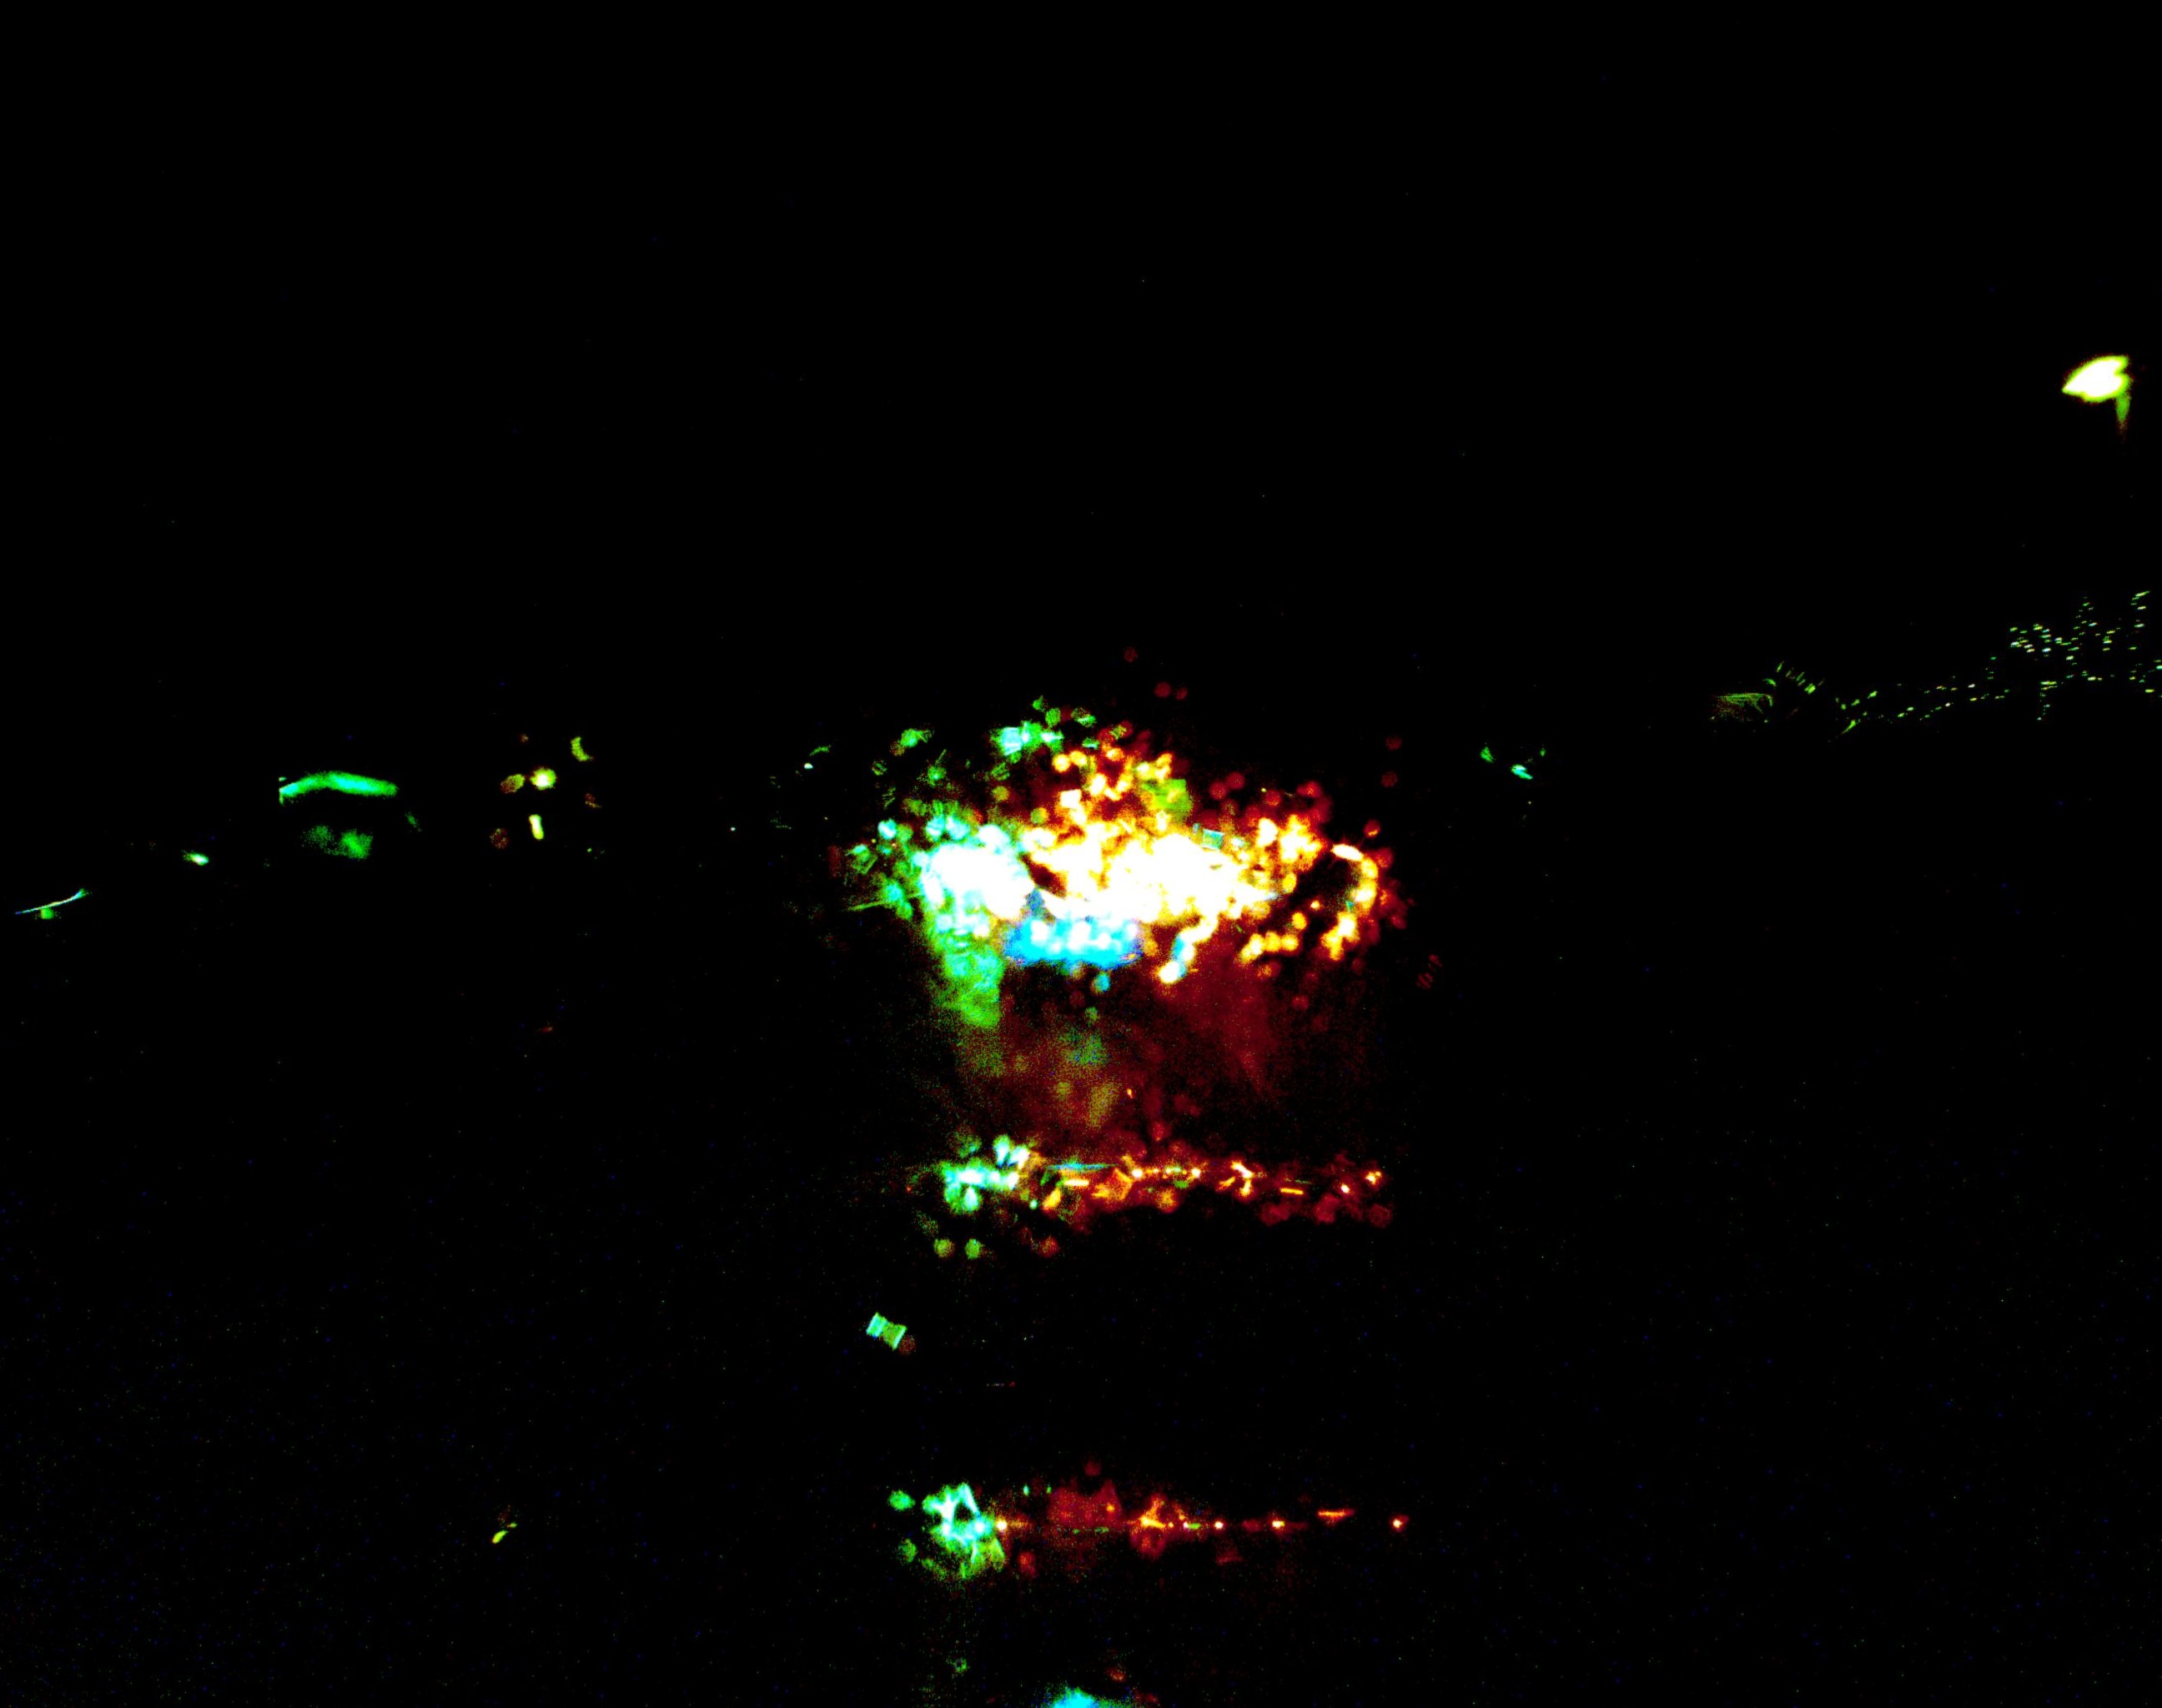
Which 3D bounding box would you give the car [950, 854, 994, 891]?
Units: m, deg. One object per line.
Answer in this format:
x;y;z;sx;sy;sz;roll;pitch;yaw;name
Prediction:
-5.945;0.968;44.869;1.989;1.912;4.736;-1;0;-4;car

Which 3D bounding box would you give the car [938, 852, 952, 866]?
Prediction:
-20.048;0.748;120.470;1.993;1.912;4.728;-1;0;-9;car

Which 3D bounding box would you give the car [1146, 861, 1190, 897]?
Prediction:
3.947;1.107;37.481;1.657;1.450;4.051;-1;0;1;car

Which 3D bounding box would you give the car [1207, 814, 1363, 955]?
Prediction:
3.210;0.417;13.658;1.932;1.972;4.225;-1;0;6;car

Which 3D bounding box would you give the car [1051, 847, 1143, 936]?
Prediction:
0.382;0.707;17.593;1.702;1.638;3.732;-3;0;2;car

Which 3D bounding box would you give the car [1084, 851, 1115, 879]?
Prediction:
1.128;0.681;51.843;1.704;1.638;3.728;-3;0;-2;car

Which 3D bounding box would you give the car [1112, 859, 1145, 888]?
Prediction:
2.541;1.043;44.428;1.657;1.450;4.051;-1;-1;1;car

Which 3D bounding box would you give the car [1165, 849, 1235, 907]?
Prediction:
3.324;0.621;23.419;1.759;1.450;4.224;-1;0;5;car

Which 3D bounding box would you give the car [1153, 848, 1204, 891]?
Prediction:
3.625;0.570;30.883;1.656;1.450;4.054;-2;-1;4;car

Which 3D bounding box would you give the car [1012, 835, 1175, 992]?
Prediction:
0.192;0.633;10.448;1.688;1.630;3.854;-1;0;2;car
